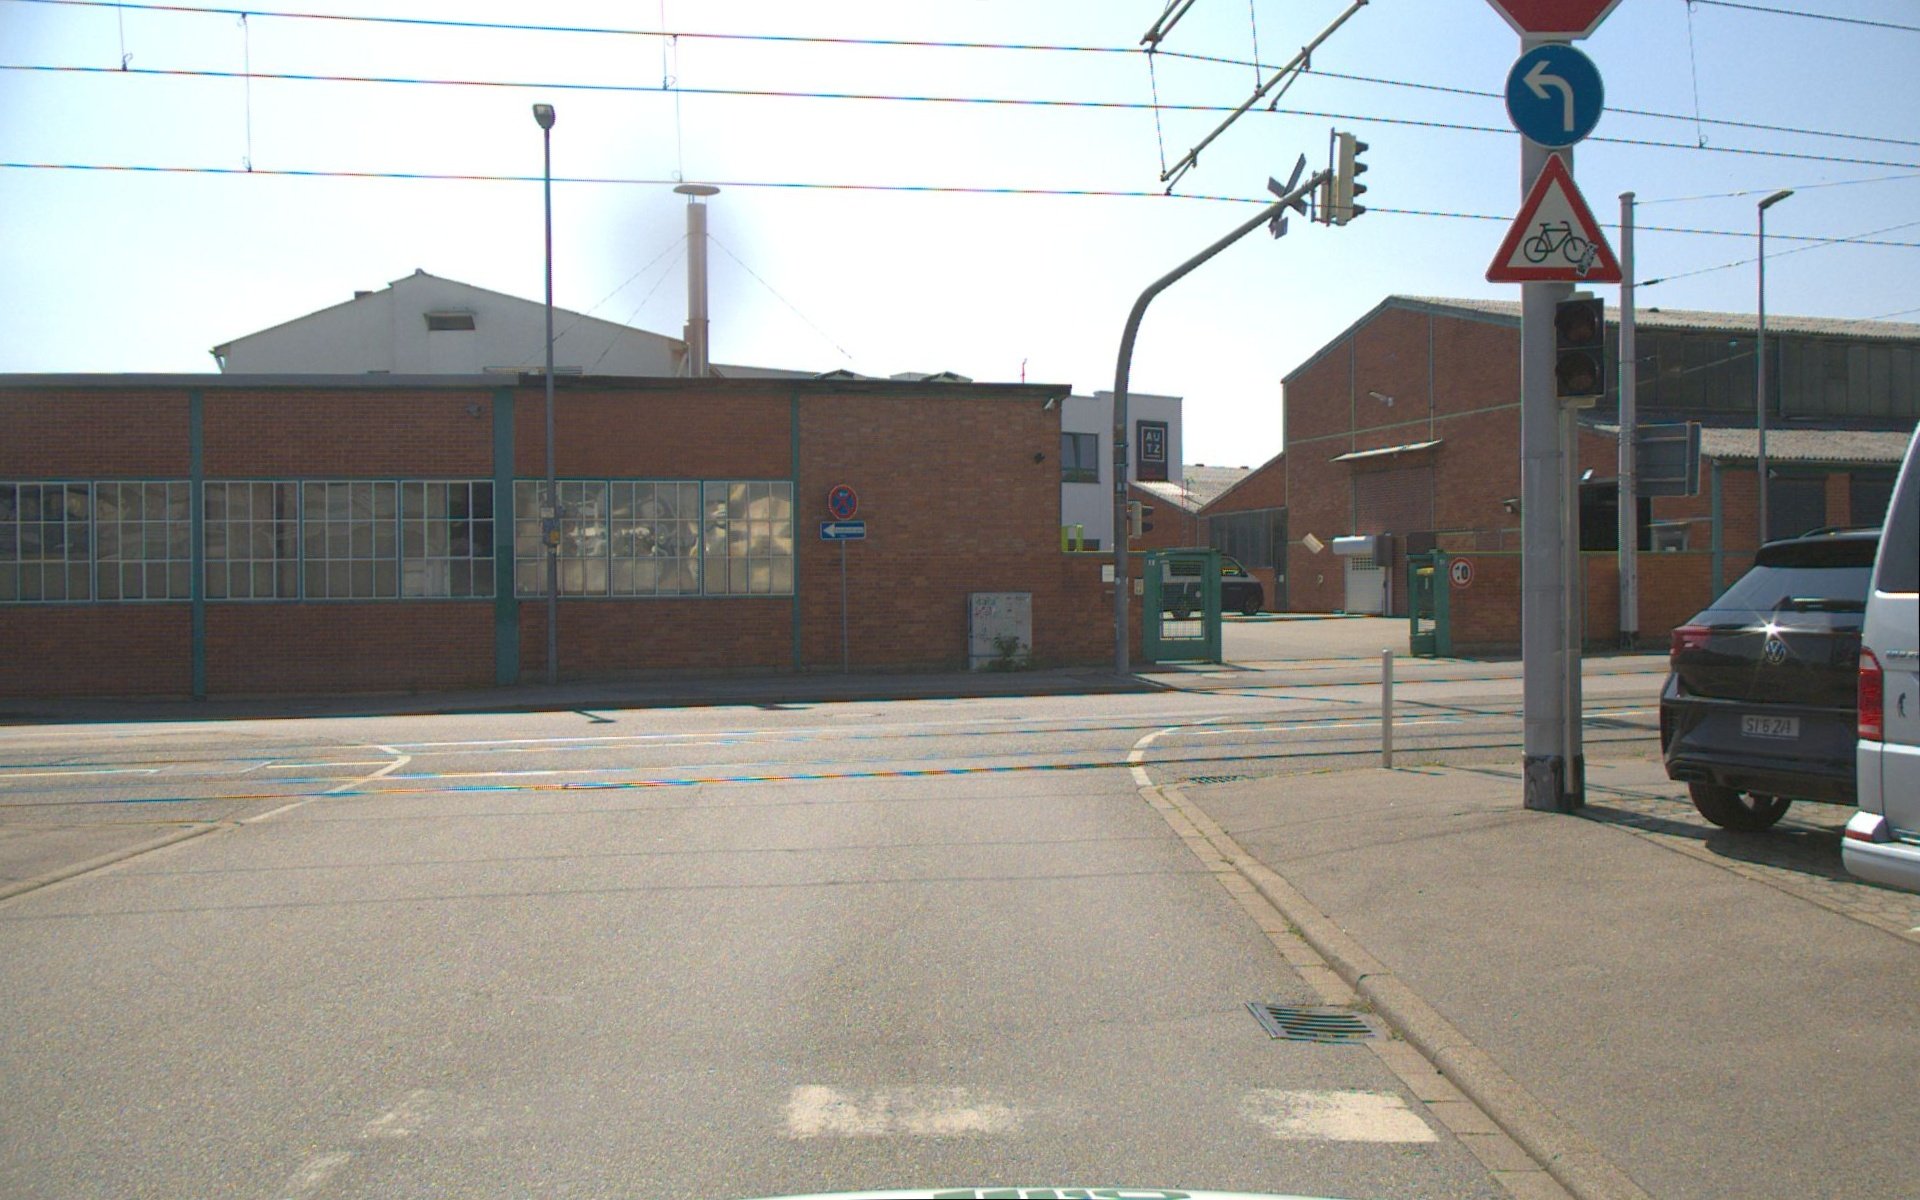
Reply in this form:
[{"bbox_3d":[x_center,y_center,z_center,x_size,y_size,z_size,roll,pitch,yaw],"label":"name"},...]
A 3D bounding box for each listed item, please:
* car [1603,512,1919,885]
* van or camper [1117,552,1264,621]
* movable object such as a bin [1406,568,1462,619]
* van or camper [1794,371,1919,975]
[{"bbox_3d":[5.414,0.401,8.411,3.912,1.547,1.865,0,0,-26],"label":"car"},{"bbox_3d":[7.156,-0.399,51.157,4.374,1.933,1.974,2,-1,-37],"label":"van or camper"},{"bbox_3d":[12.612,-0.173,44.056,0.959,1.337,1.146,-1,0,-18],"label":"movable object such as a bin"},{"bbox_3d":[5.341,0.198,5.651,4.476,1.941,1.987,-1,1,-21],"label":"van or camper"}]
